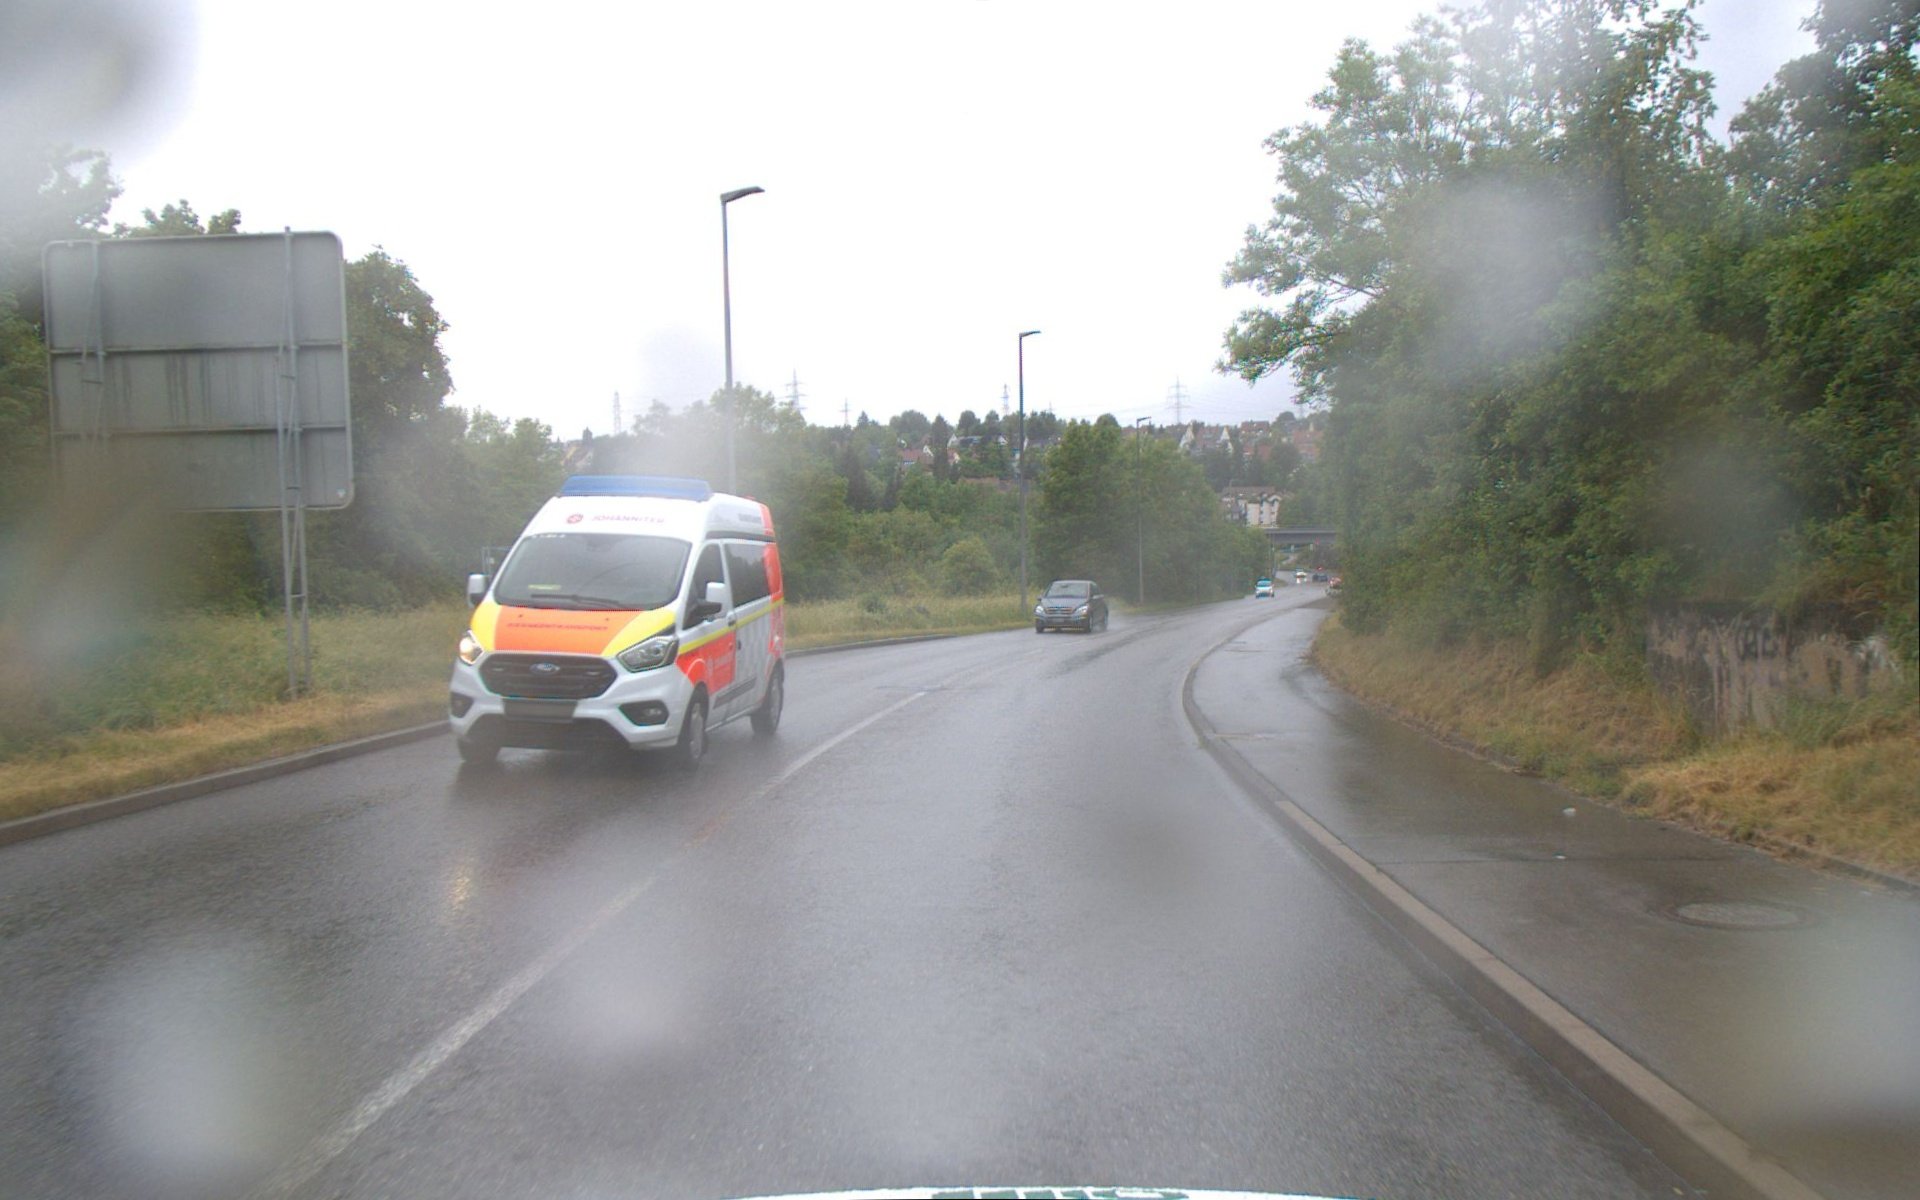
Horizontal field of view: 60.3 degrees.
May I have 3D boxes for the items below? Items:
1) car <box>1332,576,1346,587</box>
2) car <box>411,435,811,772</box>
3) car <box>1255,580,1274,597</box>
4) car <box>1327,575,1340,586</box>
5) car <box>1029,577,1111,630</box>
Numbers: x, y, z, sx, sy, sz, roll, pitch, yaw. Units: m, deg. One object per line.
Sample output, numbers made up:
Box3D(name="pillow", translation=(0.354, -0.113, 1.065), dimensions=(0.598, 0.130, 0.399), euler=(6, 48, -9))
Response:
Box3D(name="car", translation=(53.371, -2.625, 232.934), dimensions=(1.730, 1.404, 4.003), euler=(-2, 0, 15))
Box3D(name="car", translation=(-2.853, 0.007, 15.037), dimensions=(2.001, 2.460, 5.459), euler=(1, 0, 5))
Box3D(name="car", translation=(27.508, -1.024, 149.298), dimensions=(1.604, 1.514, 3.457), euler=(-2, 0, 11))
Box3D(name="car", translation=(54.116, -2.835, 239.544), dimensions=(1.730, 1.590, 4.003), euler=(-2, 0, 15))
Box3D(name="car", translation=(3.530, 0.088, 52.284), dimensions=(1.824, 1.579, 4.269), euler=(1, 1, 14))
